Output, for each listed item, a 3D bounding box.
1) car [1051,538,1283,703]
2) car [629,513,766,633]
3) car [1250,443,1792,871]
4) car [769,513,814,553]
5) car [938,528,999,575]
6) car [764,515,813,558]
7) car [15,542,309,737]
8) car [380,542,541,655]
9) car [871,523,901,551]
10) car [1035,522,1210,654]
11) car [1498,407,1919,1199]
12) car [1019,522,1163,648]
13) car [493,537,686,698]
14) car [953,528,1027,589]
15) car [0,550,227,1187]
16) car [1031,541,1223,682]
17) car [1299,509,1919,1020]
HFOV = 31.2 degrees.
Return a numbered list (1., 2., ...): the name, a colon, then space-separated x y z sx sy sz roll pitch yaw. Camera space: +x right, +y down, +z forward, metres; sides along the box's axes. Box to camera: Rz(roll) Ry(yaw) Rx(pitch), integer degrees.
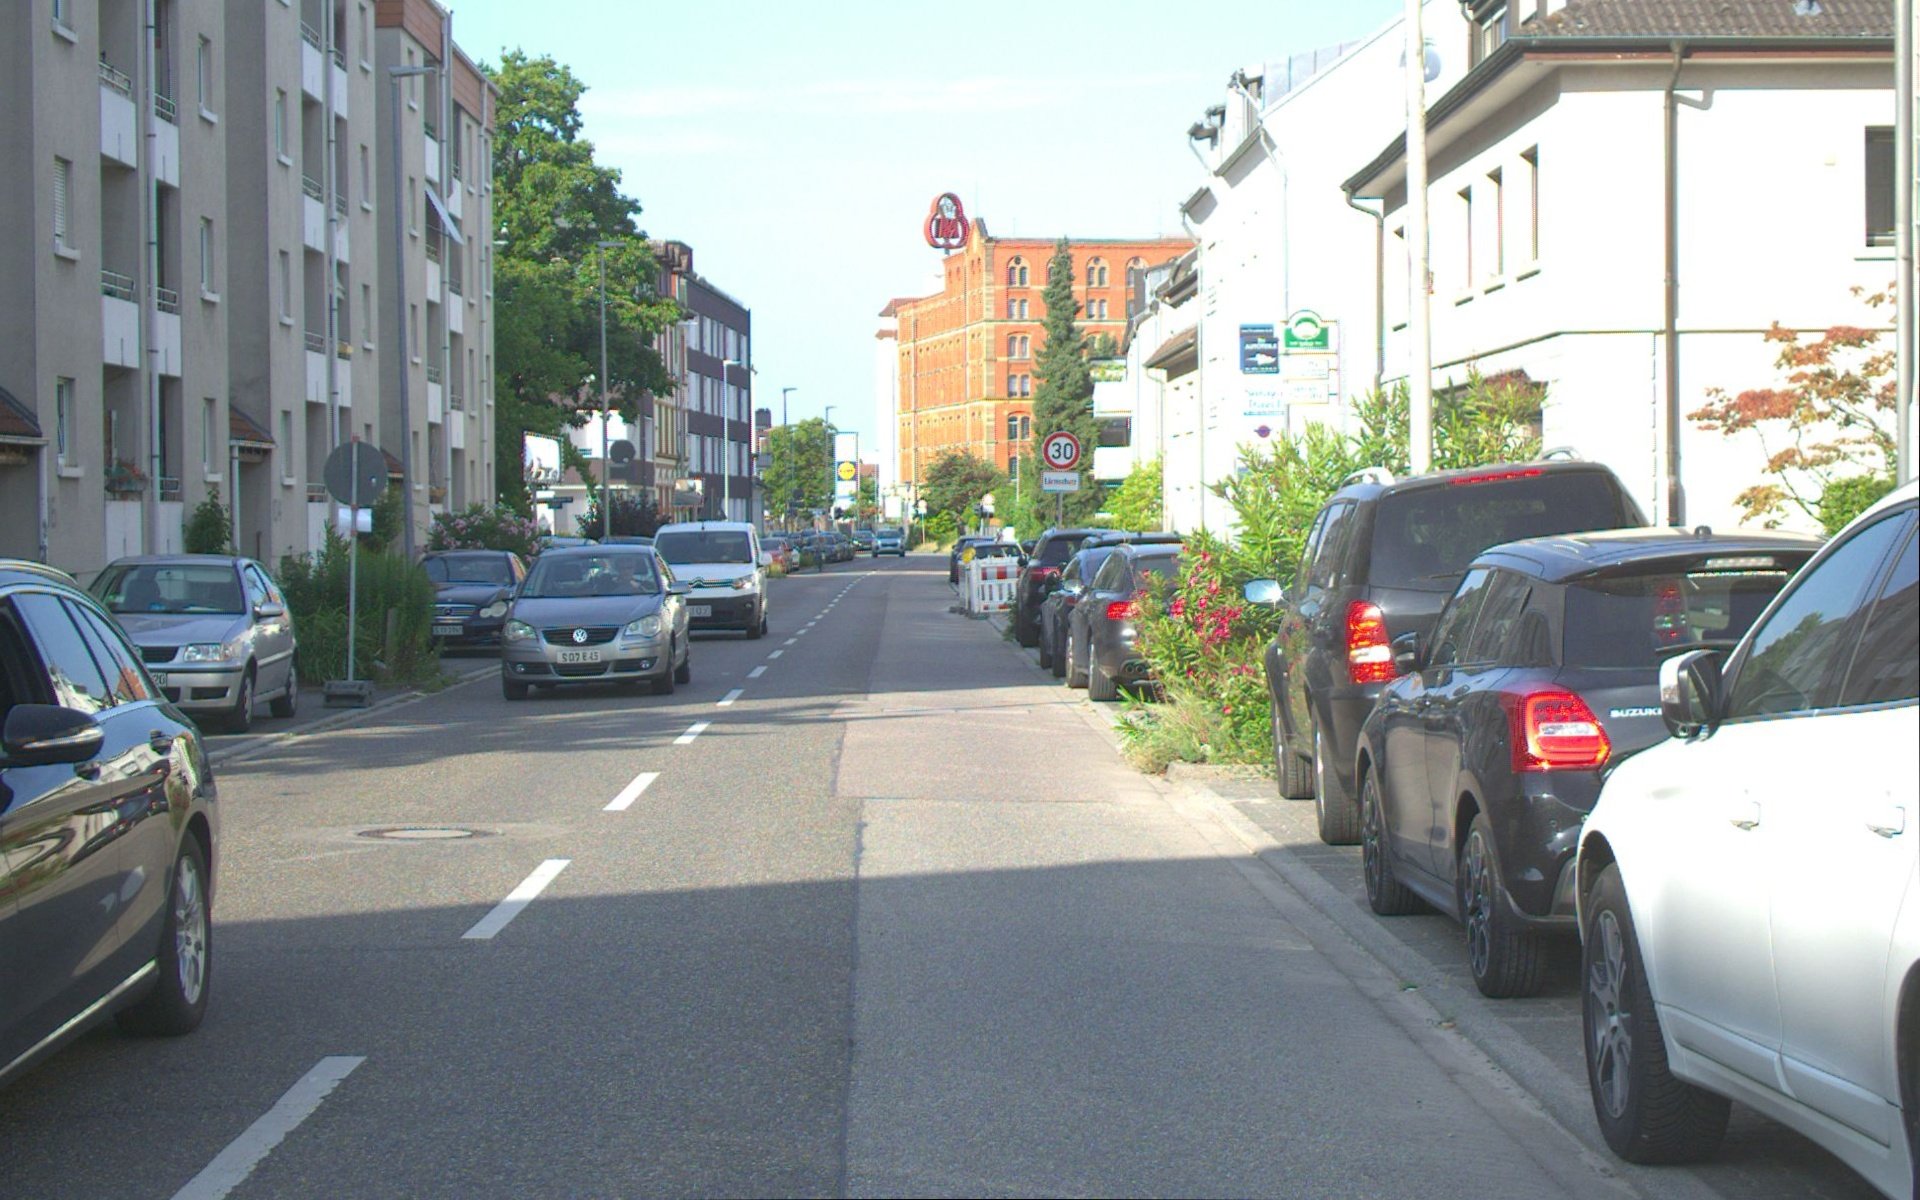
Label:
1. car: 1.893 0.142 32.686 1.779 1.415 4.497 0 1 -2
2. car: -3.999 -0.450 52.947 1.922 1.761 4.339 -1 1 -2
3. car: 2.696 0.179 17.637 2.075 1.849 4.610 -2 2 1
4. car: -8.033 -3.217 163.940 1.993 1.875 4.000 0 1 0
5. car: 0.258 -1.604 113.058 1.859 1.467 4.000 1 1 -1
6. car: -7.858 -2.928 157.848 1.993 1.901 4.000 -1 1 0
7. car: -6.444 0.270 28.101 1.640 1.390 3.672 -3 1 -3
8. car: -6.675 -0.050 46.242 1.686 1.401 4.084 1 1 -2
9. car: -4.358 -3.738 203.125 1.763 1.610 4.000 -1 1 -1
10. car: 2.007 -0.195 43.575 1.829 1.554 4.318 -1 1 -2
11. car: 2.402 0.459 6.752 1.812 1.678 4.477 -3 1 -1
12. car: 1.806 -0.191 48.719 1.830 1.624 4.463 2 0 0
13. car: -3.608 0.133 34.009 1.617 1.450 3.686 -1 1 -2
14. car: 0.759 -1.086 88.366 1.830 1.477 3.943 -1 1 0
15. car: -3.131 0.616 8.571 1.829 1.415 4.209 -1 1 -2
16. car: 1.789 0.080 38.135 1.830 1.415 4.609 0 1 -1
17. car: 2.363 0.460 12.820 1.589 1.523 4.614 -2 1 -1
